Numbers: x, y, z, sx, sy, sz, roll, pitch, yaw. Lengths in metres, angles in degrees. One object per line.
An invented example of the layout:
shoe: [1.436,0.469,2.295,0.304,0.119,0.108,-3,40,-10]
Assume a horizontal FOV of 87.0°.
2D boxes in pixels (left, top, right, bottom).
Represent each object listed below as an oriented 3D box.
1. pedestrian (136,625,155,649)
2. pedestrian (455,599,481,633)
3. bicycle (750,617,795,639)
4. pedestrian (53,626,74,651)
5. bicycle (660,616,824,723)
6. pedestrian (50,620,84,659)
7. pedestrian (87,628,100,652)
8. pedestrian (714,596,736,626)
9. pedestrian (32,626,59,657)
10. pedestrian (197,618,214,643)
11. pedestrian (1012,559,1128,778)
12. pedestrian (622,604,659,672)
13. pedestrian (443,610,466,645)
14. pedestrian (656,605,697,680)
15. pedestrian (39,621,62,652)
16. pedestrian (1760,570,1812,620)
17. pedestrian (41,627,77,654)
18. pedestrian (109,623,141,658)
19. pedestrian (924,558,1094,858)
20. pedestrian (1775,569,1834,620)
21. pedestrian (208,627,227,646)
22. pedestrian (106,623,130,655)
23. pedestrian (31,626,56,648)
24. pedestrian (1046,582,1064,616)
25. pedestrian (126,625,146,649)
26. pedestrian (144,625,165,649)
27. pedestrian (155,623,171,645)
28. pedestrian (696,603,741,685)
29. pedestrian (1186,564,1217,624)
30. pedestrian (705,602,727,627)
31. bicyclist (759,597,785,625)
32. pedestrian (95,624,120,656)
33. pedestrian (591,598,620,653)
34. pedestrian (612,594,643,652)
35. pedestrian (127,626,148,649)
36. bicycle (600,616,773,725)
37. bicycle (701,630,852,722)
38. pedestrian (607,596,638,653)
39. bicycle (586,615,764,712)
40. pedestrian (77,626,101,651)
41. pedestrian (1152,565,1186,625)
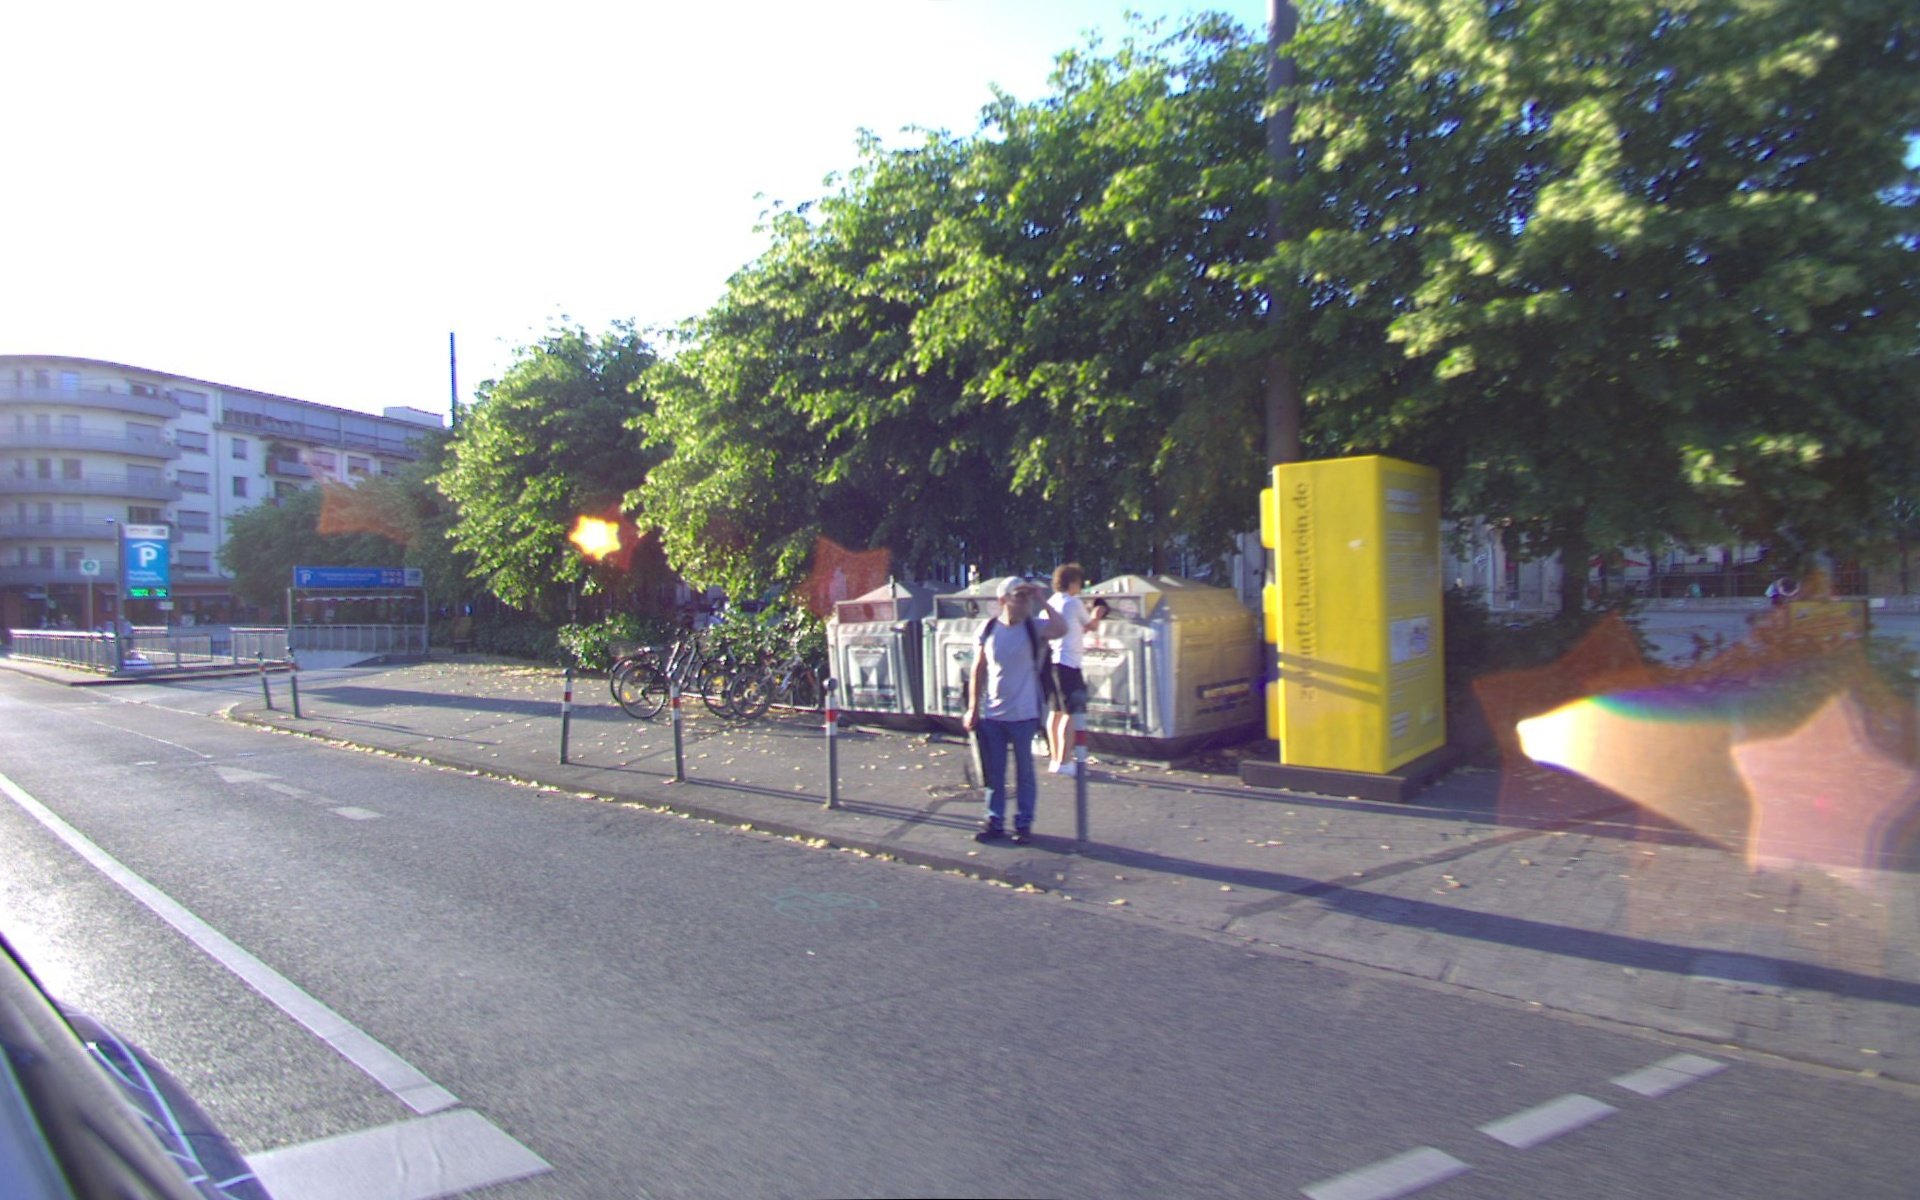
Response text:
pedestrian: [-54.199,2.444,67.343,0.644,1.539,0.697,2,0,13]
pedestrian: [-27.713,0.899,57.012,0.880,1.867,0.982,-3,-1,11]
bicycle: [-10.376,1.555,56.175,2.294,1.110,0.952,-1,-1,-45]
pedestrian: [-56.485,2.416,63.760,0.702,1.547,0.855,-2,-1,-18]
bicycle: [-2.896,0.887,13.757,0.462,1.246,2.407,-2,0,38]
pedestrian: [-45.080,1.989,51.104,0.977,1.898,0.884,-3,-1,19]
pedestrian: [-55.967,2.572,65.358,0.638,1.547,0.754,-2,-2,-41]
pedestrian: [-13.421,0.615,57.888,0.701,1.660,1.262,-2,-1,13]
pedestrian: [-55.516,2.500,61.448,0.845,1.807,0.864,-3,-1,19]
pedestrian: [-54.863,2.228,73.622,0.712,1.733,0.665,-2,-1,15]
pedestrian: [0.945,0.545,8.514,0.753,1.733,0.866,-2,0,19]
pedestrian: [-9.426,1.106,29.857,0.792,1.963,0.732,-1,0,-36]
pedestrian: [-27.975,1.510,56.004,0.711,1.889,0.774,-3,-1,26]
pedestrian: [-7.637,1.123,27.241,0.792,1.963,0.732,-1,0,-36]
pedestrian: [-54.653,2.164,60.822,0.806,1.807,0.732,-3,-1,19]
pedestrian: [26.050,-0.152,31.939,0.938,1.512,0.842,-1,0,11]
pedestrian: [-55.981,2.514,62.910,0.711,1.533,0.689,0,-42,29]
pedestrian: [-43.895,2.122,53.196,0.968,1.807,0.892,-2,-1,-16]
pedestrian: [0.326,0.623,6.404,0.712,1.733,0.876,-2,0,29]
pedestrian: [25.805,-0.160,30.942,0.978,1.512,0.978,-1,0,9]
pedestrian: [-52.712,2.574,71.861,0.840,1.287,0.715,-1,2,-5]
pedestrian: [-51.124,2.341,61.457,0.708,1.891,0.847,-3,-1,18]
pedestrian: [-56.333,2.269,62.192,0.675,1.291,0.970,-1,1,-9]
pedestrian: [5.629,-0.075,60.019,0.729,1.963,0.794,-2,0,39]
pedestrian: [-54.178,2.436,66.540,0.707,1.547,0.756,2,0,13]
pedestrian: [-54.278,2.471,68.202,0.844,1.547,0.677,-3,-1,13]
pedestrian: [-54.208,2.303,68.863,0.661,1.445,0.558,0,0,14]
pedestrian: [-5.928,1.064,24.833,0.792,1.963,0.732,-1,0,-36]
pedestrian: [8.116,-0.204,34.040,0.794,1.963,0.730,-2,0,1]
pedestrian: [-14.080,0.812,58.314,0.730,1.390,1.262,-2,-1,12]
bicyclist: [-10.456,0.613,56.156,0.742,1.521,1.383,-1,-1,-44]
pedestrian: [-51.130,2.400,60.731,0.708,1.816,0.878,-3,-1,16]
pedestrian: [-13.491,0.967,38.515,0.899,2.029,0.922,-2,0,-26]
pedestrian: [-12.107,0.829,36.830,0.899,2.029,0.922,-2,0,-26]
pedestrian: [-54.957,2.514,67.610,0.762,1.515,0.780,-2,-1,14]
bicycle: [-3.685,0.913,13.882,0.517,1.246,2.408,-2,1,38]
bicycle: [-2.391,0.972,13.442,0.635,0.978,2.023,-2,2,39]
pedestrian: [-12.369,0.883,37.128,0.899,2.029,0.922,-2,0,-26]
bicycle: [-4.330,0.924,15.453,2.468,1.293,0.818,-2,0,-29]
pedestrian: [-54.868,2.416,63.759,0.709,1.547,0.848,3,1,18]
pedestrian: [6.905,-0.166,33.428,0.792,1.963,0.731,-1,0,-42]
